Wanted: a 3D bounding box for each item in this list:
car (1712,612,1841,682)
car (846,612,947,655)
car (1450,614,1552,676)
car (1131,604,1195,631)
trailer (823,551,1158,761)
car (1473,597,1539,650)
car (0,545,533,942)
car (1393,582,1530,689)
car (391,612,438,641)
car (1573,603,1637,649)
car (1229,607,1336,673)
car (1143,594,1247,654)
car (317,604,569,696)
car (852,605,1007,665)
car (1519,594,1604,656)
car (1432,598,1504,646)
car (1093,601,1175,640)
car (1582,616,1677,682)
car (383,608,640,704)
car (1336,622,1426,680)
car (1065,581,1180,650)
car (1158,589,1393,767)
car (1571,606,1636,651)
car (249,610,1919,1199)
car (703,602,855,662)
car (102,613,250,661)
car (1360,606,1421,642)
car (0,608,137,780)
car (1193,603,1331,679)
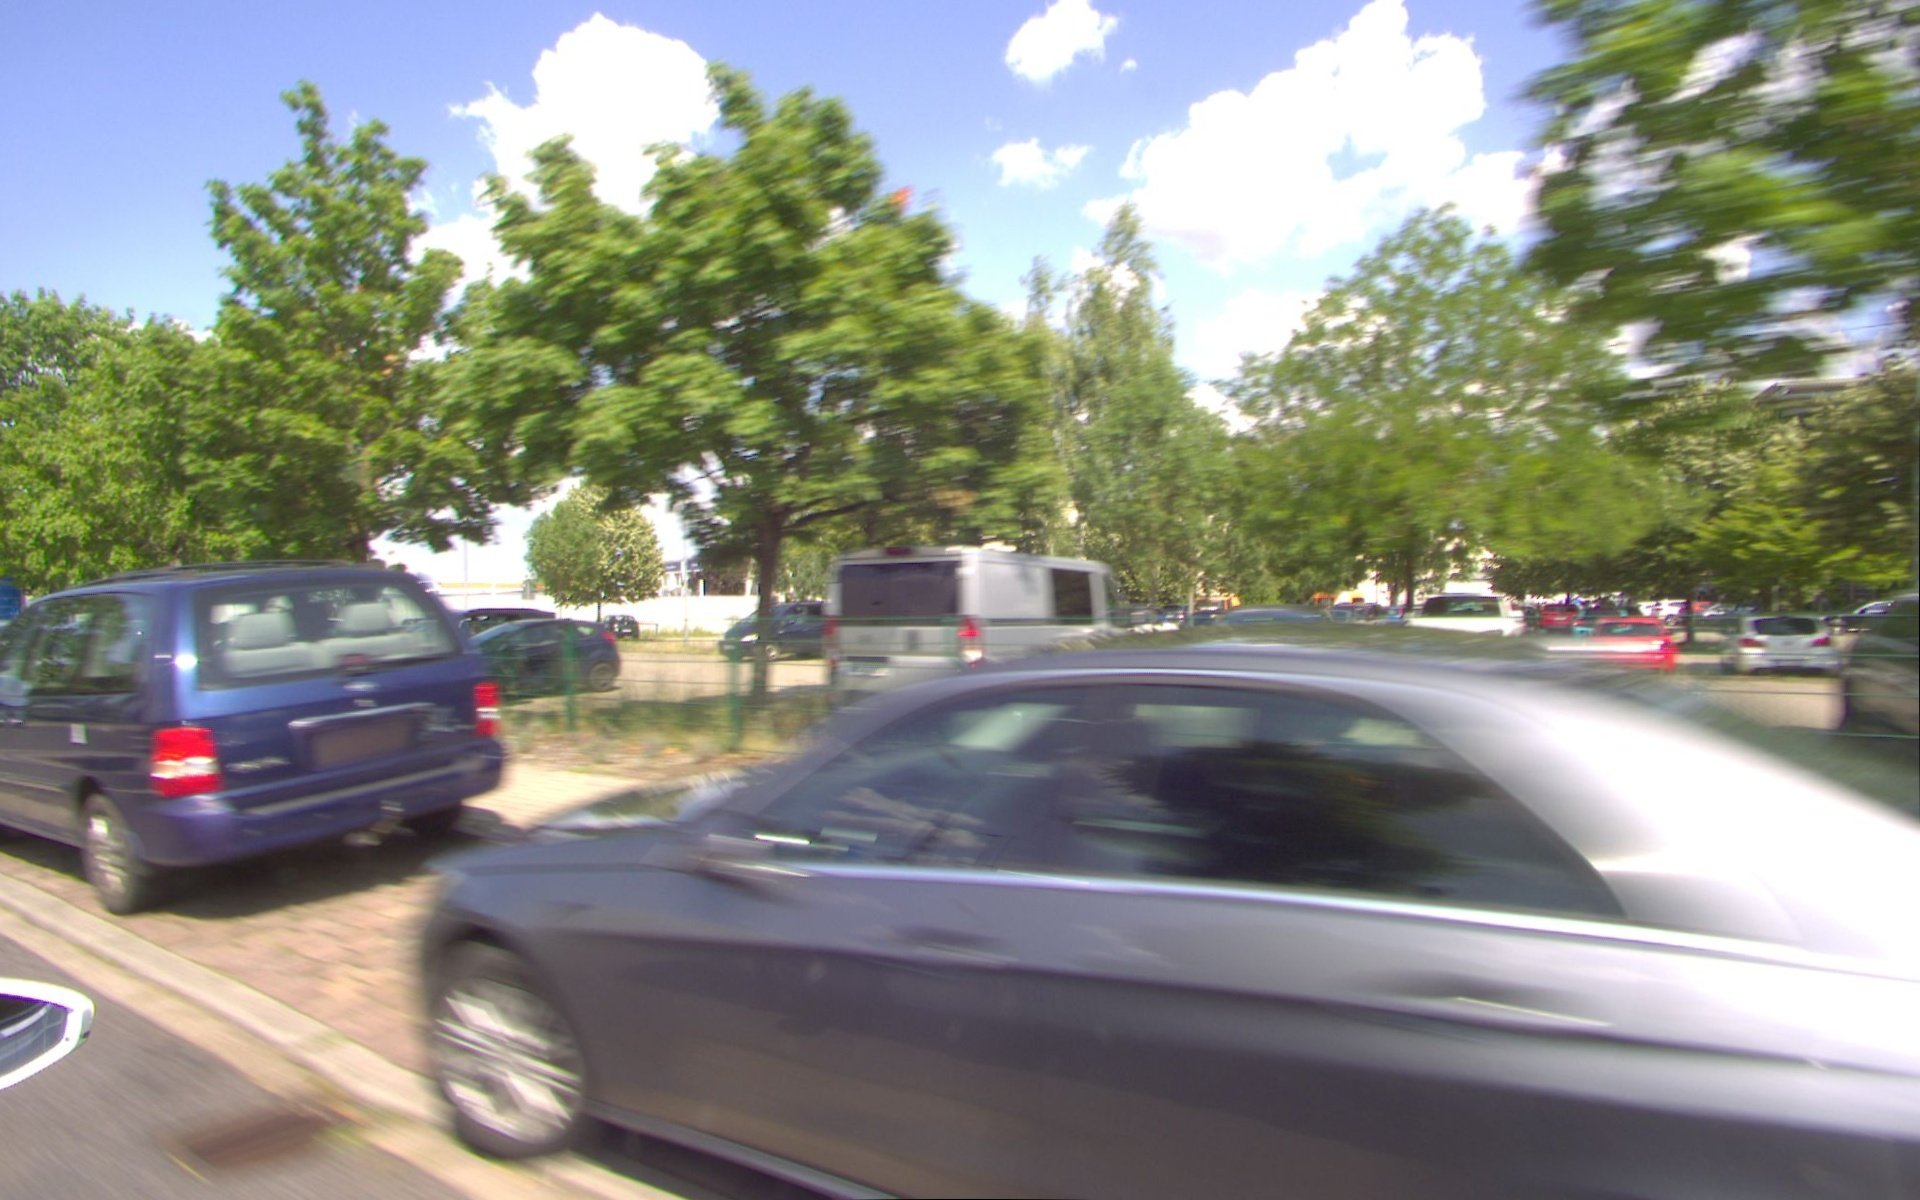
[{"bbox_3d":[17.816,0.976,22.018,1.813,1.392,3.977,-1,-1,34],"label":"car"},{"bbox_3d":[-2.249,1.195,36.267,1.728,1.431,3.741,2,0,34],"label":"car"},{"bbox_3d":[13.349,1.051,24.613,1.831,1.392,3.977,-1,-1,34],"label":"car"},{"bbox_3d":[11.481,1.012,56.497,1.974,1.417,4.255,-1,-2,36],"label":"car"},{"bbox_3d":[0.661,0.592,12.750,2.032,2.109,5.037,-1,-1,32],"label":"trailer"},{"bbox_3d":[26.390,1.172,48.279,2.067,2.387,5.348,-1,-2,37],"label":"car"},{"bbox_3d":[-5.179,0.665,6.671,5.008,1.789,1.844,-1,1,34],"label":"car"},{"bbox_3d":[9.809,0.606,19.385,1.888,1.790,4.840,0,0,33],"label":"car"},{"bbox_3d":[-28.945,1.415,53.104,1.973,1.487,4.245,1,-2,-31],"label":"car"},{"bbox_3d":[21.156,0.887,32.797,1.567,1.430,3.278,-1,-2,36],"label":"car"},{"bbox_3d":[9.058,1.063,27.942,1.831,1.687,3.977,-1,-1,34],"label":"car"},{"bbox_3d":[7.217,0.728,30.486,1.831,1.687,3.977,-1,-1,34],"label":"car"},{"bbox_3d":[-10.591,1.016,20.814,1.831,1.692,4.317,-1,-2,34],"label":"car"},{"bbox_3d":[-0.742,0.870,26.360,1.710,1.456,4.138,-1,-1,42],"label":"car"},{"bbox_3d":[27.365,1.176,45.452,2.714,2.631,5.761,-1,-2,37],"label":"car"},{"bbox_3d":[20.250,0.912,39.837,1.974,1.792,3.976,-1,-2,36],"label":"car"},{"bbox_3d":[7.433,0.893,42.417,1.866,1.576,3.975,-1,-2,36],"label":"car"},{"bbox_3d":[15.468,1.071,23.183,1.695,1.392,3.977,-1,-1,34],"label":"car"},{"bbox_3d":[-8.455,0.980,19.267,1.606,1.516,4.313,-1,1,34],"label":"car"},{"bbox_3d":[11.101,1.281,26.272,1.463,1.392,3.977,-1,-1,34],"label":"car"},{"bbox_3d":[5.048,0.473,30.724,1.971,1.960,4.071,-1,-1,34],"label":"car"},{"bbox_3d":[3.749,0.746,11.431,1.669,1.658,3.980,0,0,31],"label":"car"},{"bbox_3d":[21.224,0.909,33.002,1.728,1.392,3.690,-1,-1,34],"label":"car"},{"bbox_3d":[0.193,0.822,2.842,4.798,1.480,1.837,-1,1,32],"label":"car"},{"bbox_3d":[-5.349,0.924,30.090,1.816,1.662,4.462,0,-1,38],"label":"car"},{"bbox_3d":[-29.133,1.350,37.286,4.181,1.614,1.891,-1,-1,-44],"label":"car"},{"bbox_3d":[21.910,1.249,50.893,1.975,1.792,3.974,-1,-2,37],"label":"car"},{"bbox_3d":[-10.456,0.889,10.281,4.592,1.512,1.827,-1,1,34],"label":"car"},{"bbox_3d":[6.437,0.784,21.070,1.778,1.441,3.978,0,0,33],"label":"car"}]
